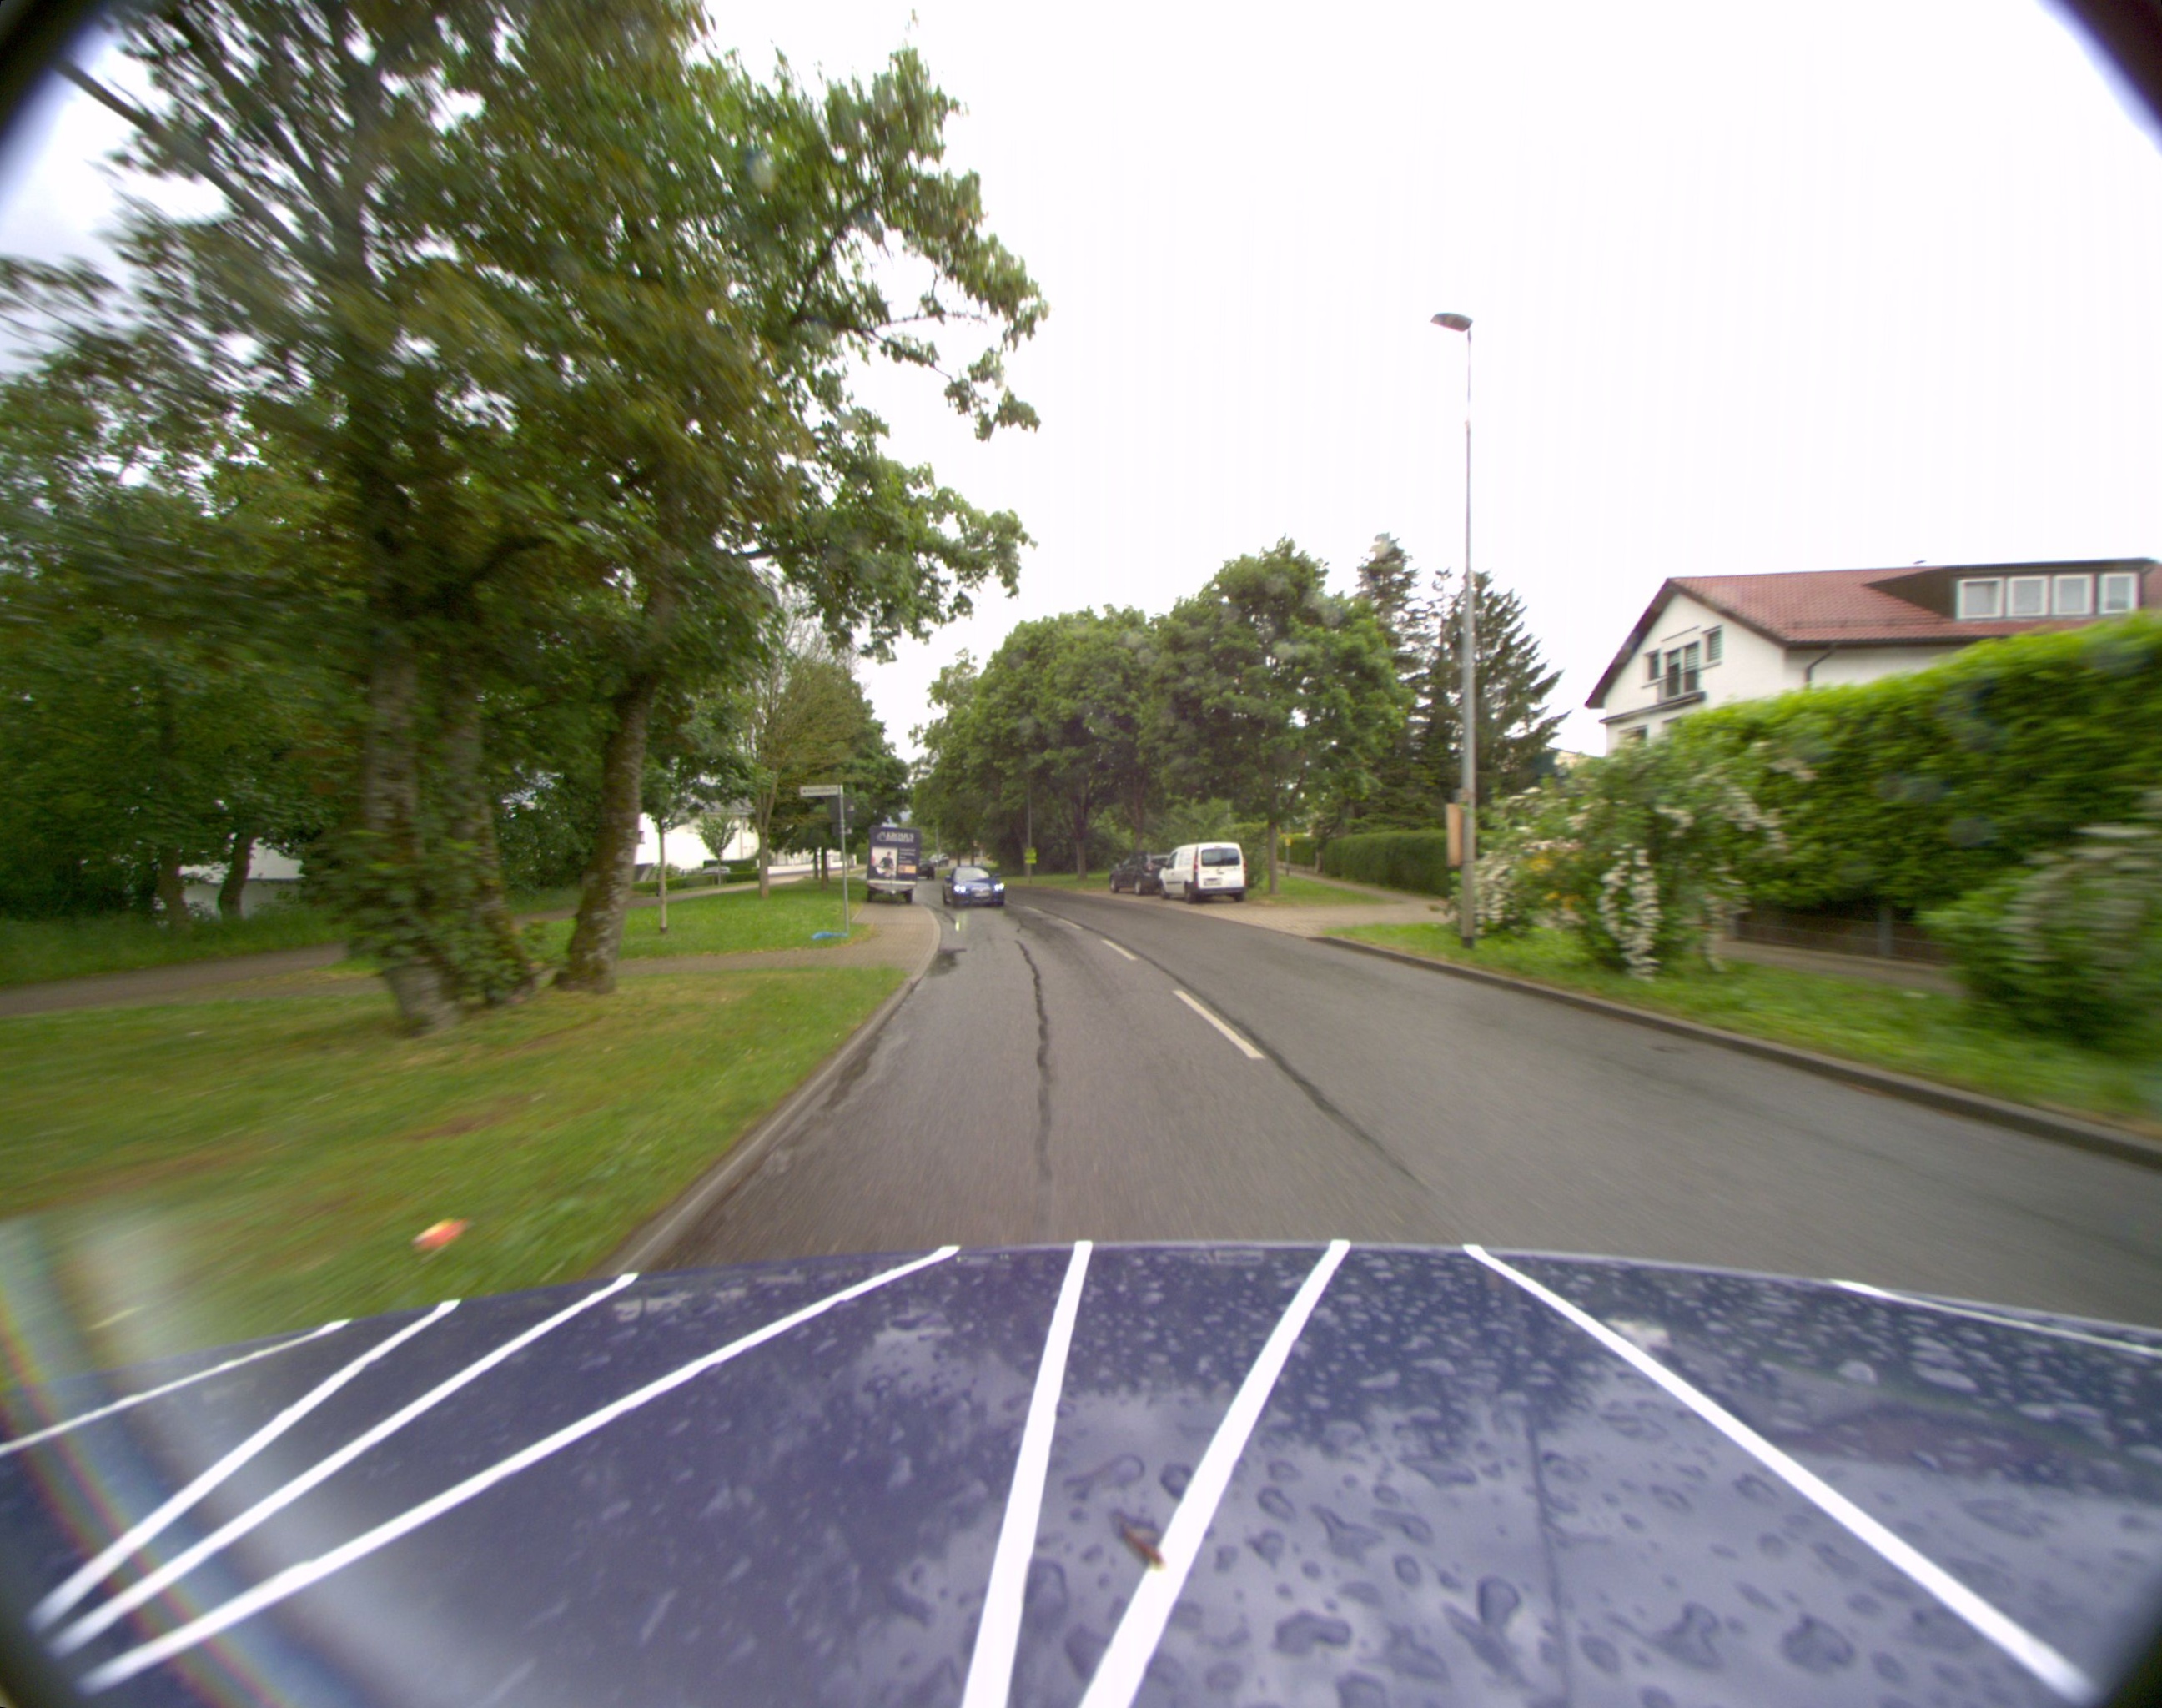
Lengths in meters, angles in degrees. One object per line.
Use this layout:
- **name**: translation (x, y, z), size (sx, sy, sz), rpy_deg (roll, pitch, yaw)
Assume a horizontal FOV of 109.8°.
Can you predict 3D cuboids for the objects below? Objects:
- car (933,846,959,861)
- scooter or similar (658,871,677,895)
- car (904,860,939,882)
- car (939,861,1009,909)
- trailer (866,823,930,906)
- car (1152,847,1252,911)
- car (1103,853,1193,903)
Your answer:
- **car**: translation (-18.699, -0.066, 105.350), size (1.996, 1.848, 4.003), rpy_deg (-3, 2, 14)
- **scooter or similar**: translation (-20.150, 1.410, 37.062), size (0.465, 1.140, 1.299), rpy_deg (0, 0, -12)
- **car**: translation (-13.440, 1.401, 63.900), size (1.860, 1.682, 4.396), rpy_deg (-2, 0, -25)
- **car**: translation (-4.050, 1.092, 28.278), size (1.818, 1.460, 3.967), rpy_deg (-3, 2, -18)
- **trailer**: translation (-7.133, 0.390, 29.204), size (2.002, 2.791, 5.600), rpy_deg (4, -1, -16)
- **car**: translation (3.744, 0.718, 24.345), size (1.804, 1.785, 4.368), rpy_deg (-3, 1, -9)
- **car**: translation (2.485, 0.848, 29.416), size (1.757, 1.631, 4.585), rpy_deg (-4, 2, -17)
